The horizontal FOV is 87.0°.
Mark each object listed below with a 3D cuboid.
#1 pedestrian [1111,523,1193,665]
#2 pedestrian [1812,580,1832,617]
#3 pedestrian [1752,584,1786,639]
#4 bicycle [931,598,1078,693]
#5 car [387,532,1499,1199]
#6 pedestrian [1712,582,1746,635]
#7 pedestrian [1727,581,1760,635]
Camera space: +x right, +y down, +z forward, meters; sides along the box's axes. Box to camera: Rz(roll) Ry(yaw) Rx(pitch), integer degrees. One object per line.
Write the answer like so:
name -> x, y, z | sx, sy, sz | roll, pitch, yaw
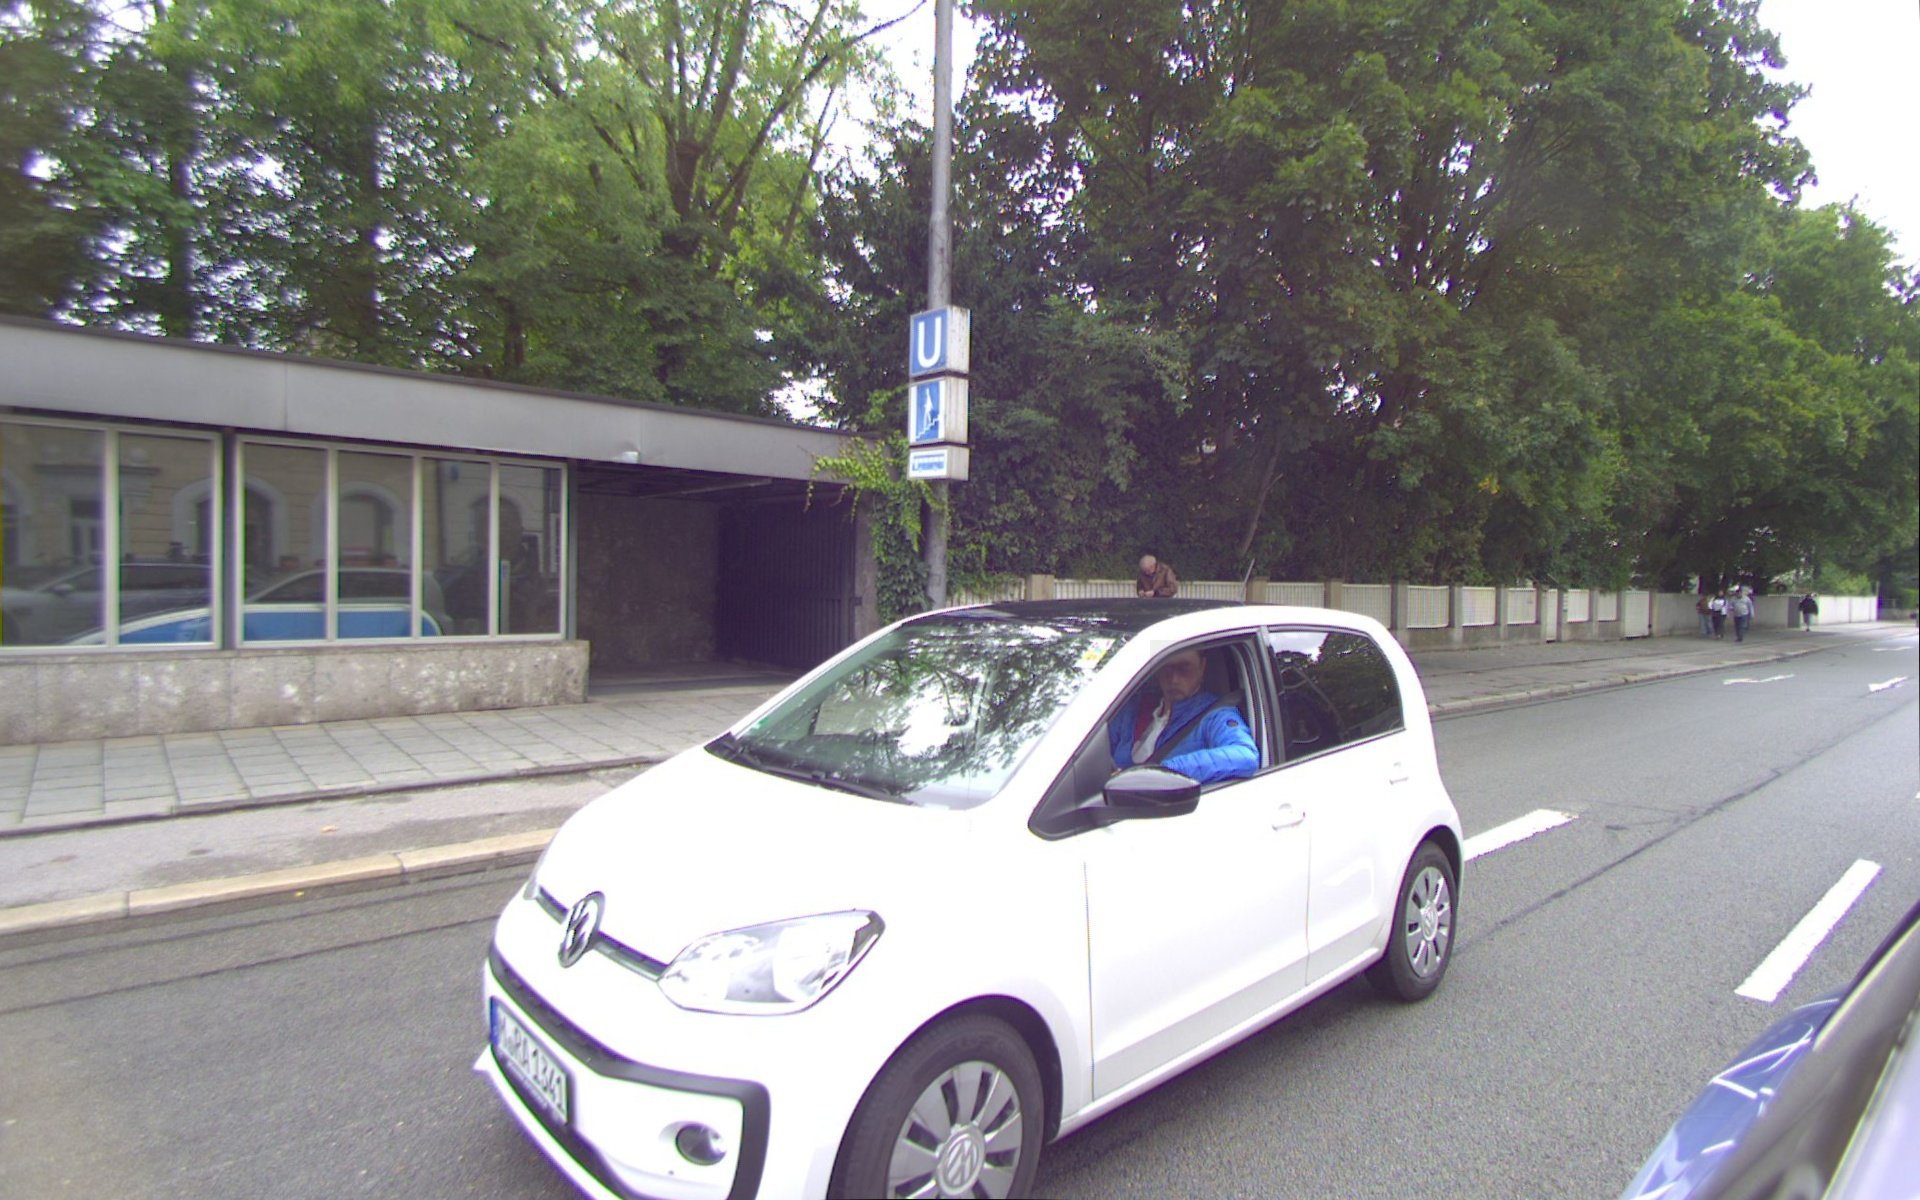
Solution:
pedestrian -> 2.740, -0.101, 14.480 | 0.788, 1.966, 0.779 | 0, 2, -40
pedestrian -> 38.088, -0.074, 44.718 | 0.716, 1.600, 0.529 | 0, 3, -42
pedestrian -> 26.346, 0.357, 32.946 | 0.753, 1.726, 0.667 | 0, 3, -42
bicycle -> 0.600, 0.539, 12.904 | 1.991, 1.104, 0.623 | 0, 1, -41
car -> 0.244, 0.656, 3.405 | 3.524, 1.581, 1.645 | 0, 1, -42
pedestrian -> 25.548, 0.276, 33.621 | 0.753, 1.726, 0.667 | 0, 3, -42
pedestrian -> 25.898, 0.263, 33.444 | 0.753, 1.726, 0.667 | 0, 3, -42
